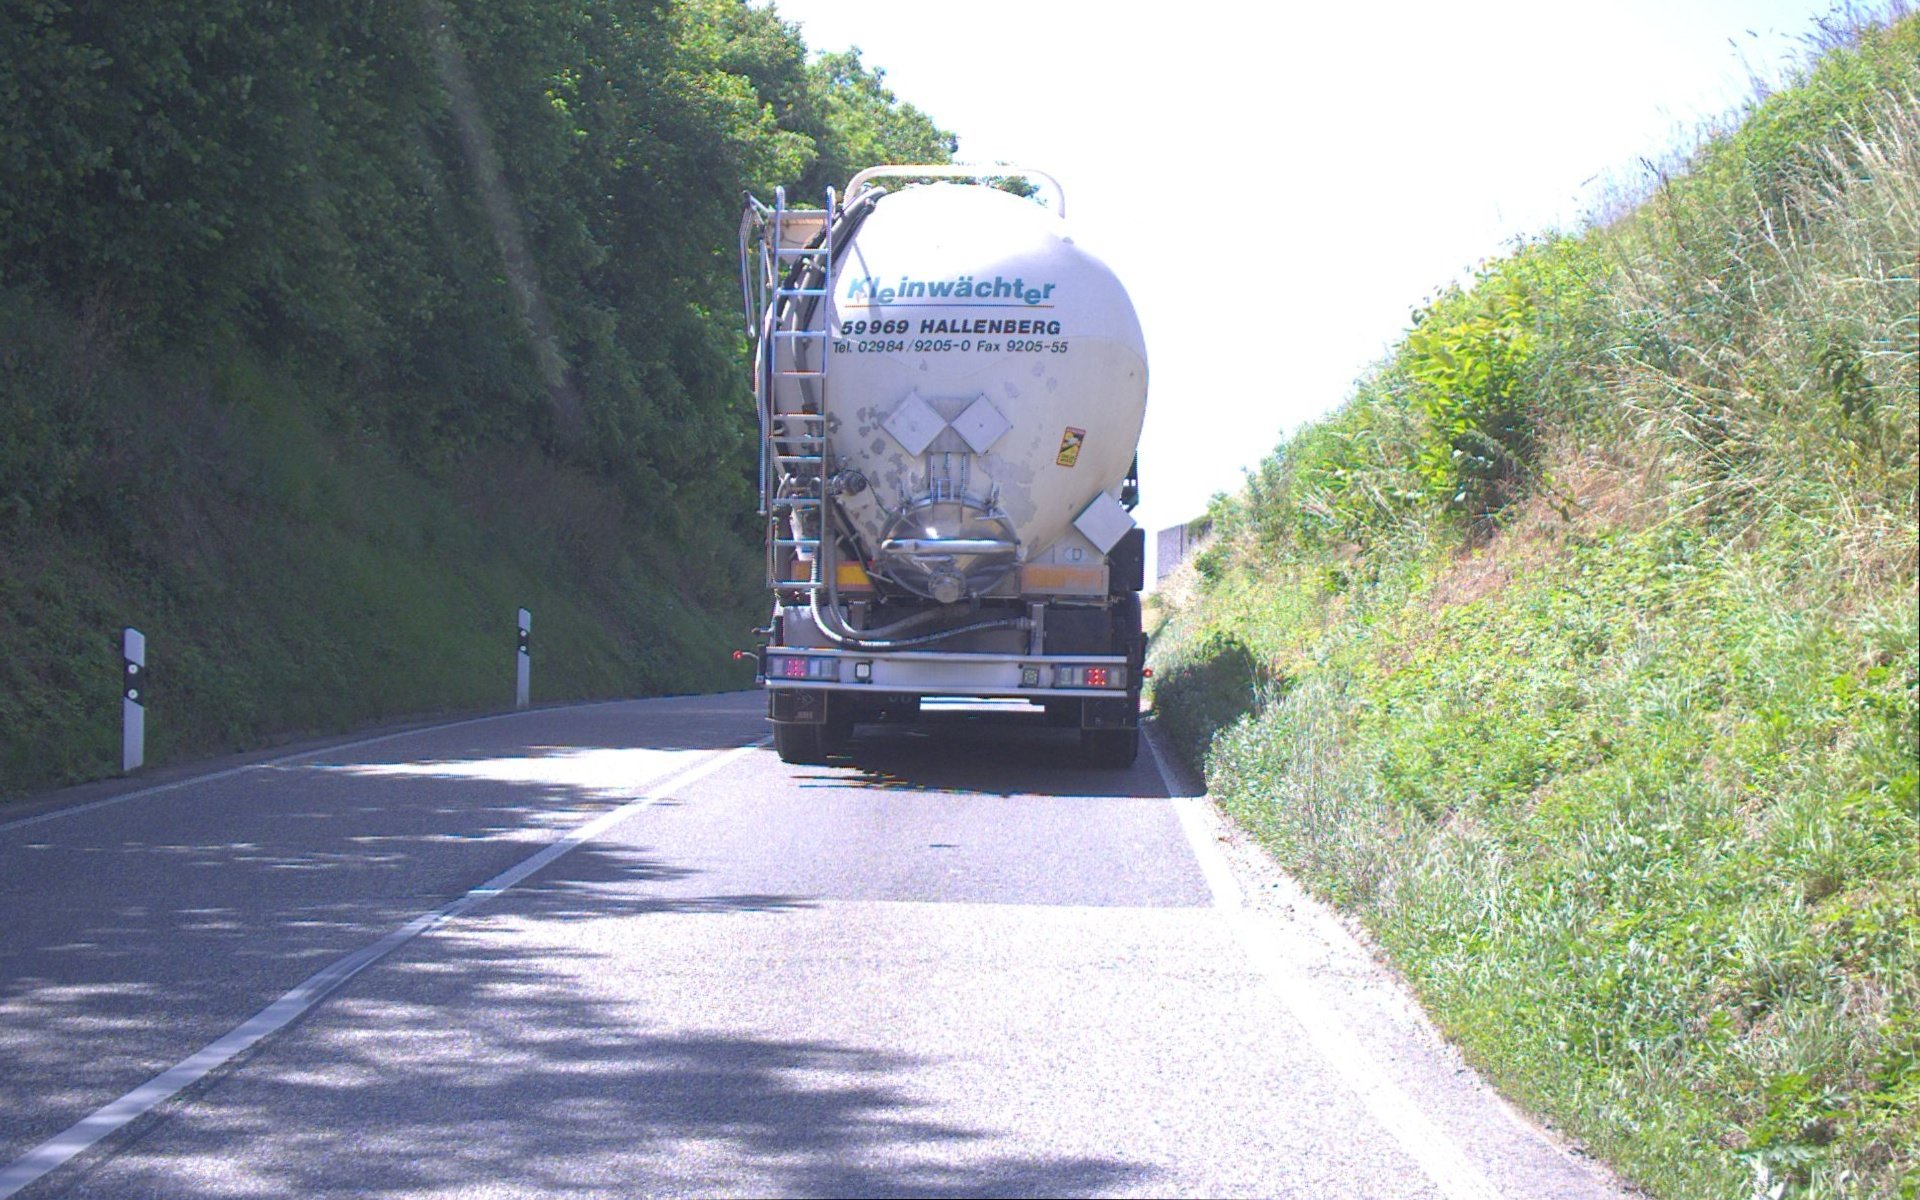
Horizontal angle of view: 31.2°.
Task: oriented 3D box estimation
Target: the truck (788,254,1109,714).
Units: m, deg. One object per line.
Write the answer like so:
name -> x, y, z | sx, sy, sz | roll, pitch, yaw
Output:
truck -> 0.048, -0.941, 32.887 | 2.727, 3.916, 7.262 | 0, -1, 2

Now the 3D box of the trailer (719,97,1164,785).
trailer -> -0.039, -1.024, 26.995 | 2.661, 4.174, 11.904 | 1, 0, 1

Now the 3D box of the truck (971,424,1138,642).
truck -> 2.091, -1.423, 76.291 | 3.190, 4.295, 11.799 | 3, 1, 1
